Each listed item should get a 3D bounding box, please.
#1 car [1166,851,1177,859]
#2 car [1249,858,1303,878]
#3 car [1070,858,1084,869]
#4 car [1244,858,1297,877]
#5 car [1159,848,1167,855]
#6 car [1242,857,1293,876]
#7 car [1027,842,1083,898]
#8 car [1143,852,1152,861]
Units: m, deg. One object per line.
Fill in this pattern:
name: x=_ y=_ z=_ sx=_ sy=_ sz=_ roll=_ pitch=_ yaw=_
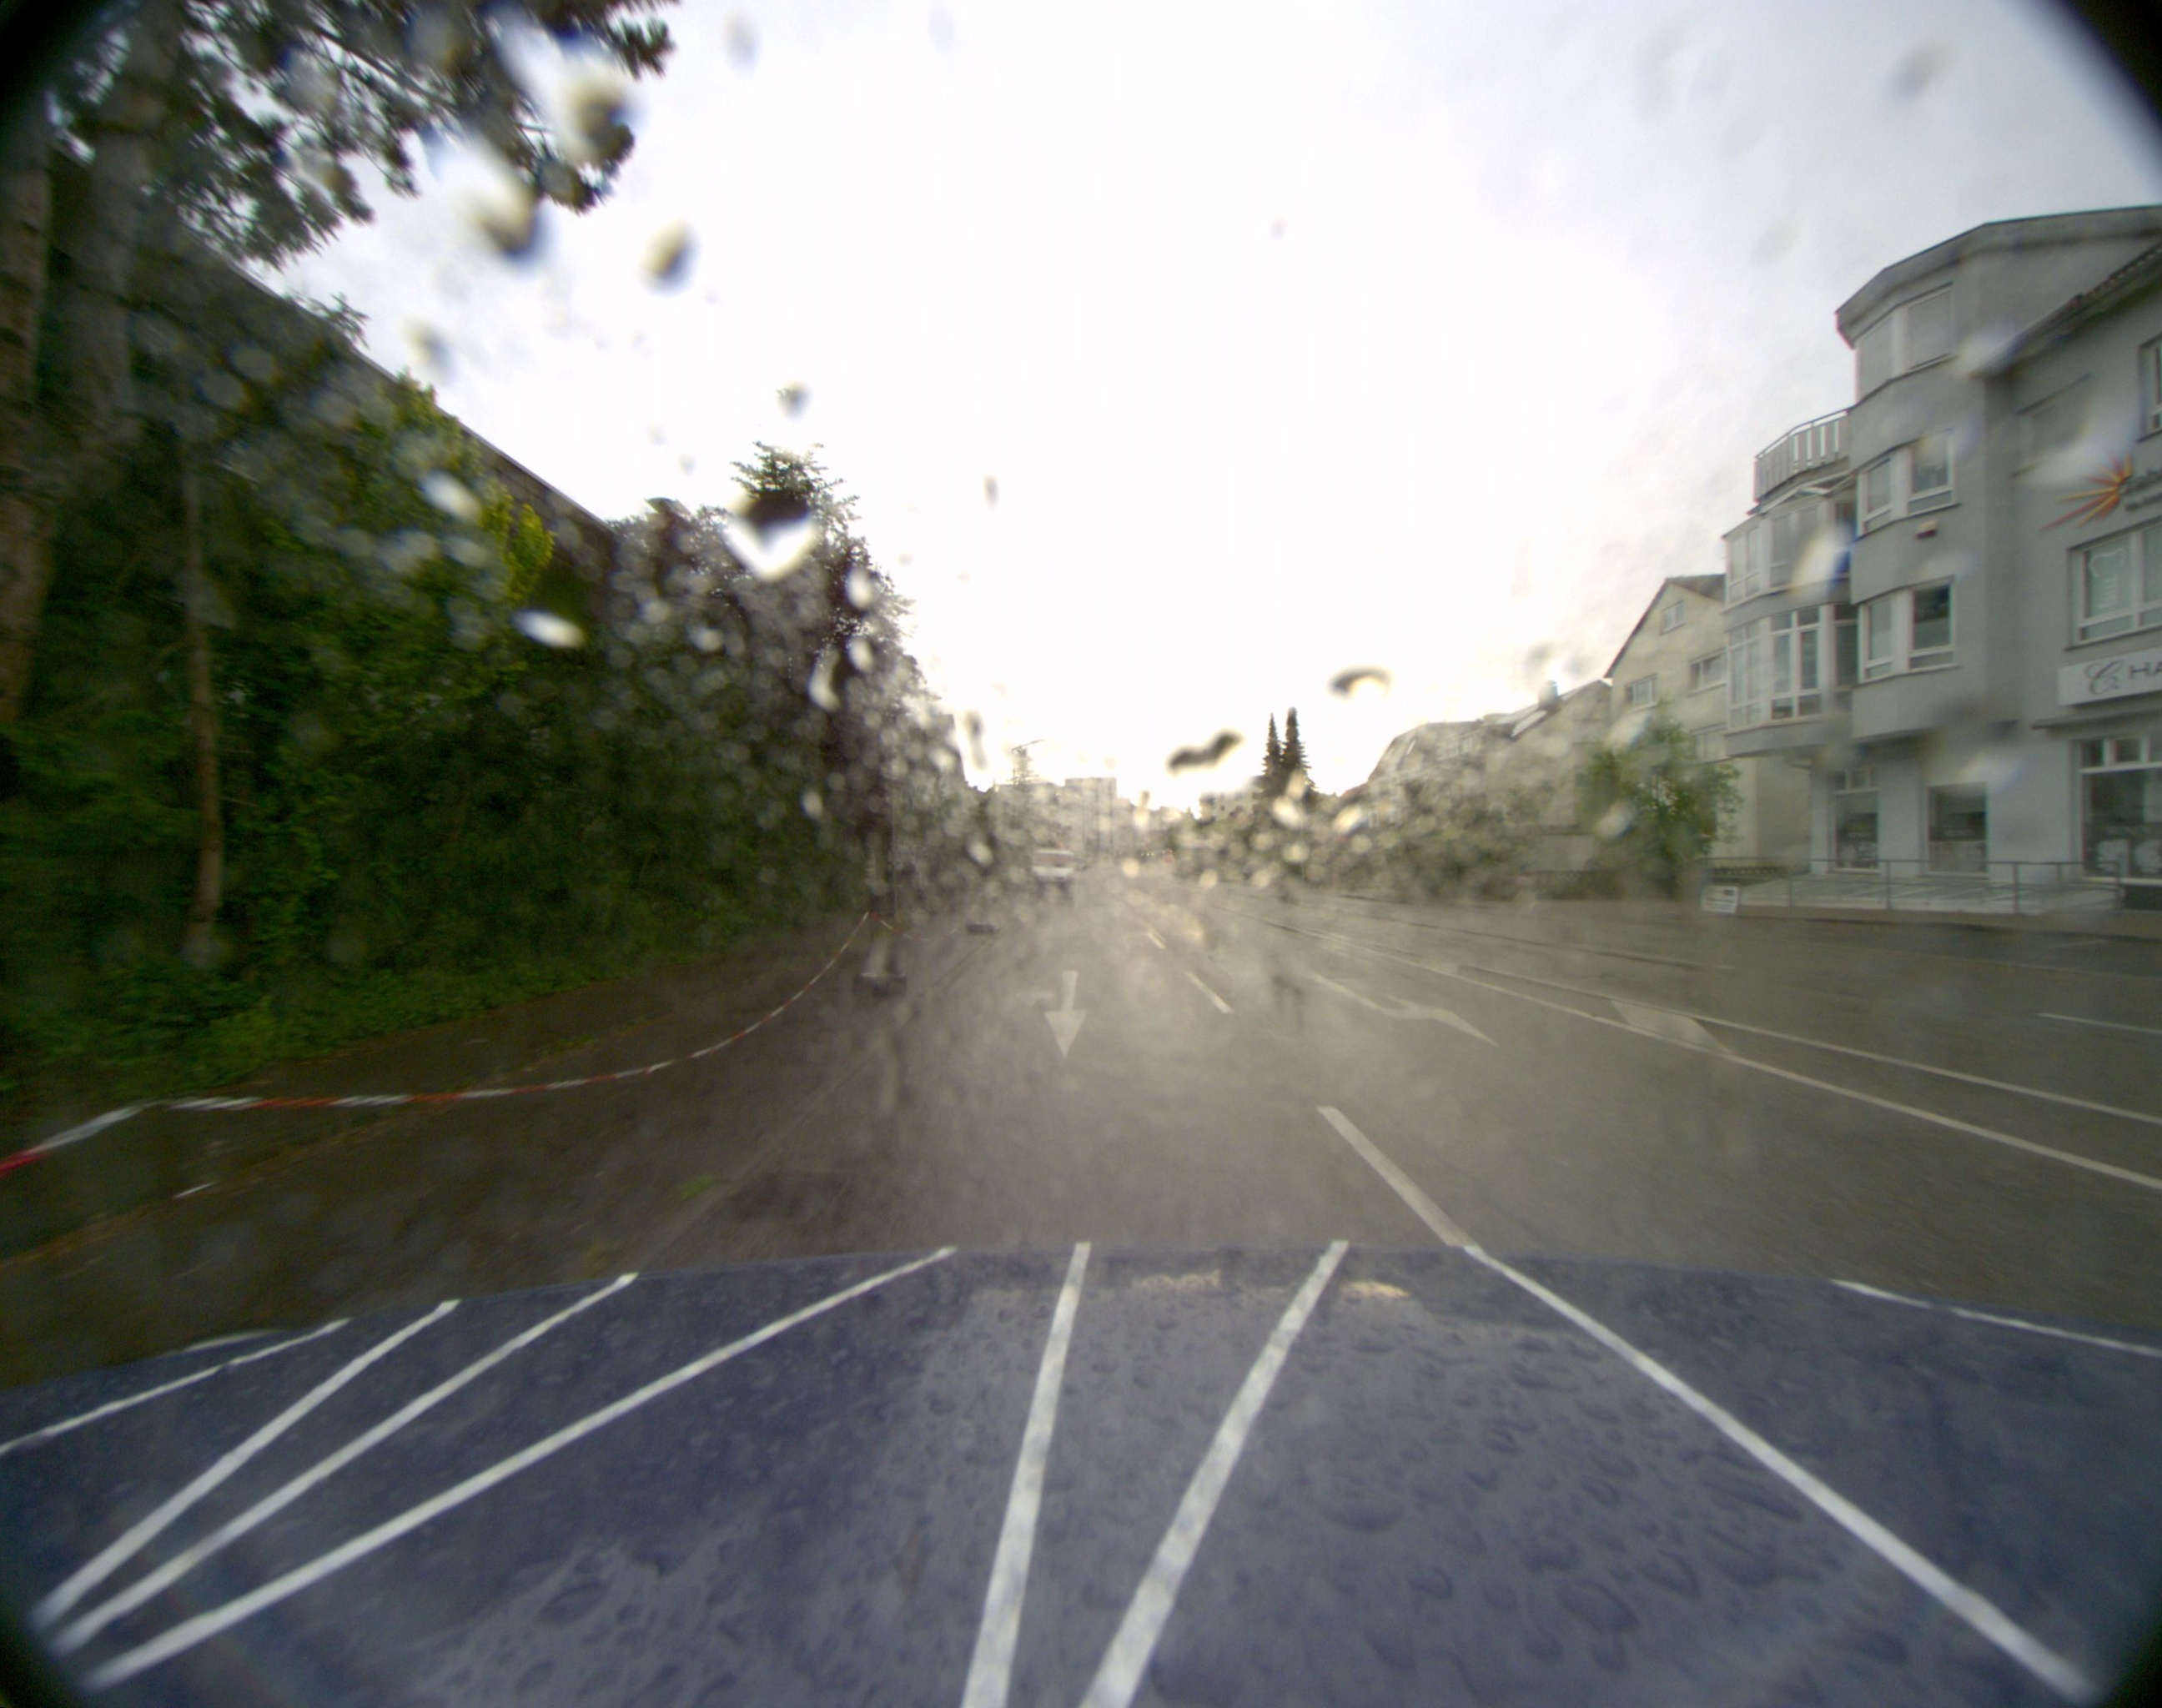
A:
car: x=19.690 y=0.273 z=165.676 sx=1.997 sy=1.606 sz=4.003 roll=-1 pitch=0 yaw=11
car: x=15.994 y=1.114 z=62.588 sx=4.034 sy=1.433 sz=1.813 roll=-3 pitch=0 yaw=5
car: x=-0.574 y=1.486 z=118.641 sx=1.912 sy=1.622 sz=3.703 roll=-1 pitch=0 yaw=4
car: x=16.197 y=1.143 z=65.074 sx=4.155 sy=1.433 sz=1.891 roll=-3 pitch=0 yaw=7
car: x=21.512 y=-0.628 z=199.504 sx=1.850 sy=1.753 sz=4.124 roll=-1 pitch=0 yaw=10
car: x=16.574 y=1.087 z=67.791 sx=4.114 sy=1.536 sz=2.001 roll=-3 pitch=0 yaw=5
car: x=-1.127 y=0.724 z=36.220 sx=2.397 sy=2.417 sz=6.433 roll=0 pitch=0 yaw=0
car: x=14.826 y=0.547 z=169.168 sx=1.851 sy=1.870 sz=4.122 roll=-1 pitch=0 yaw=4
